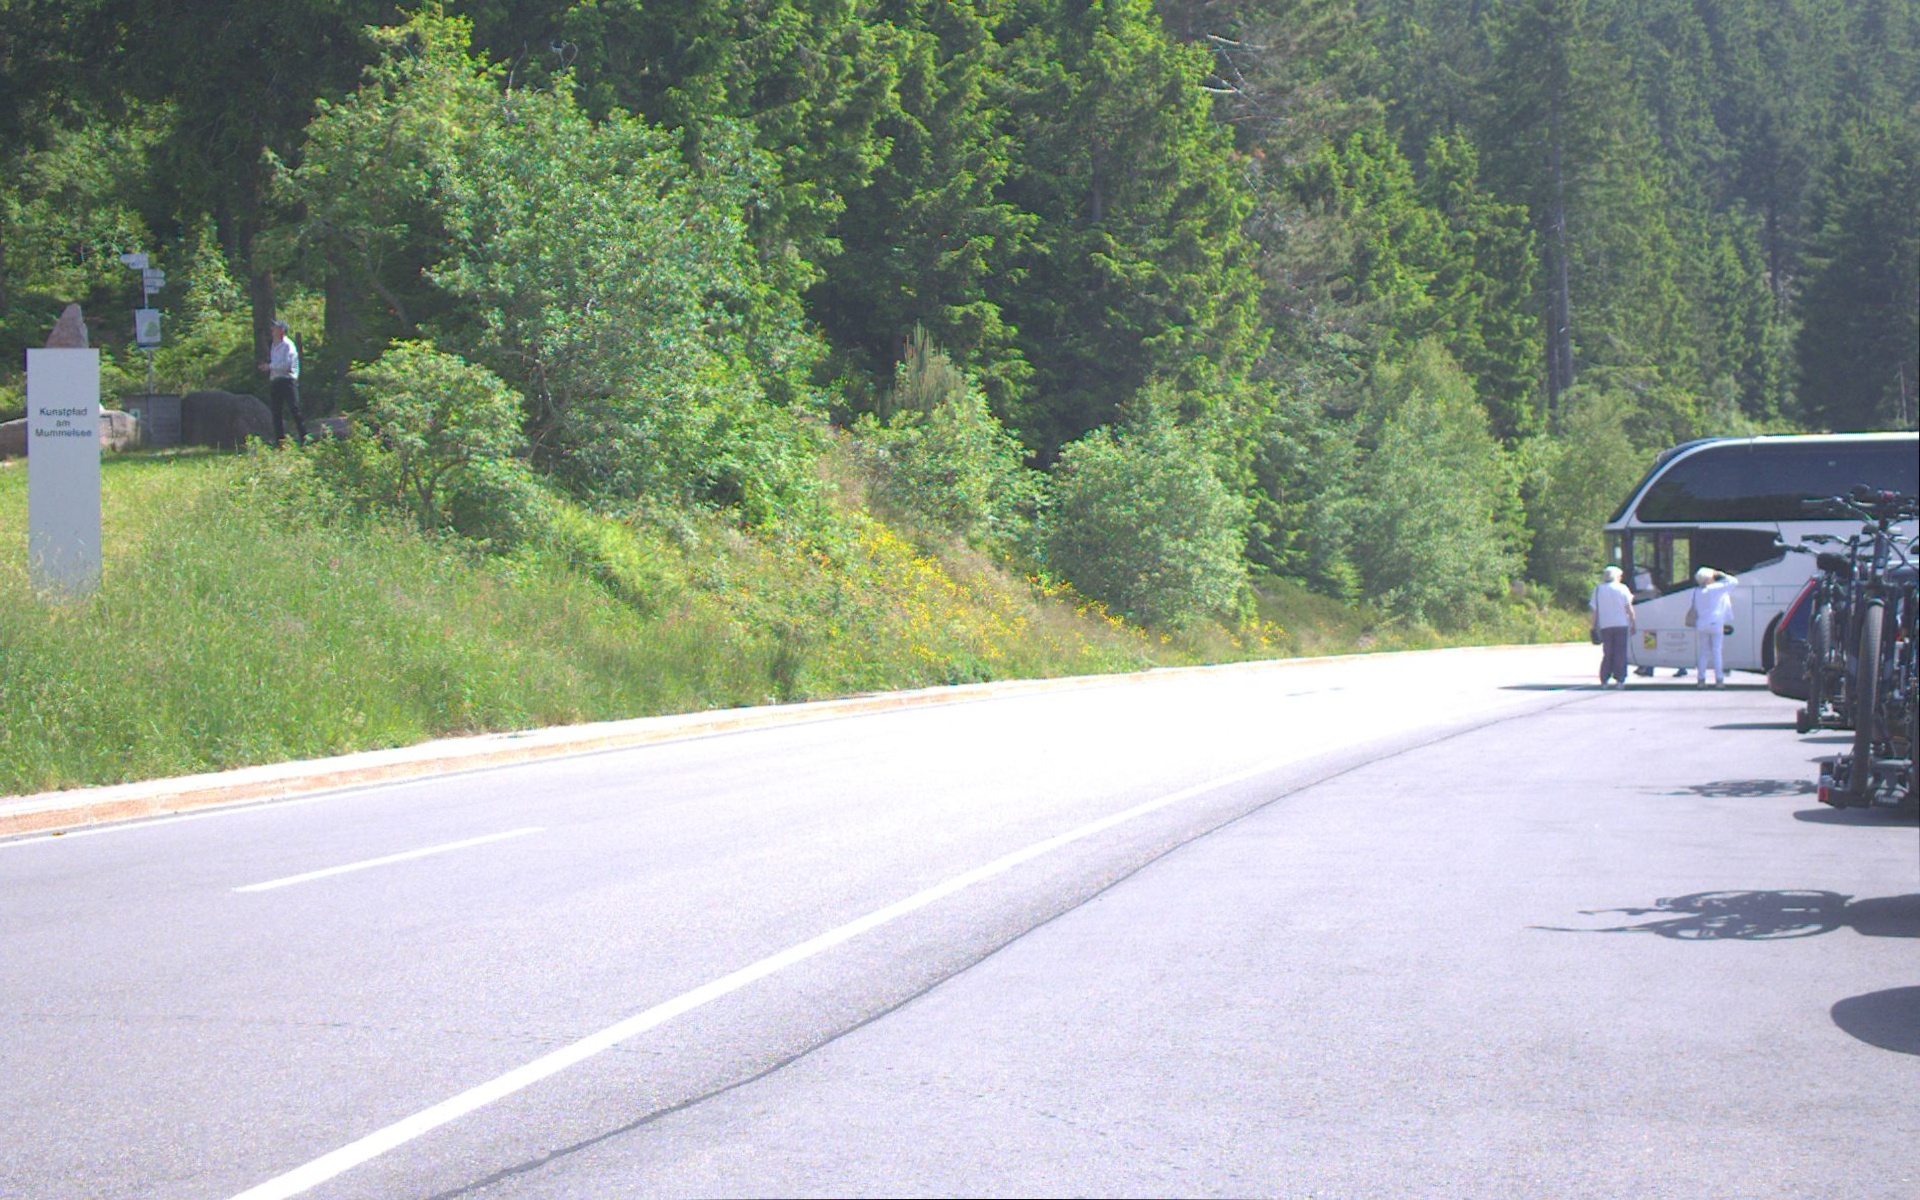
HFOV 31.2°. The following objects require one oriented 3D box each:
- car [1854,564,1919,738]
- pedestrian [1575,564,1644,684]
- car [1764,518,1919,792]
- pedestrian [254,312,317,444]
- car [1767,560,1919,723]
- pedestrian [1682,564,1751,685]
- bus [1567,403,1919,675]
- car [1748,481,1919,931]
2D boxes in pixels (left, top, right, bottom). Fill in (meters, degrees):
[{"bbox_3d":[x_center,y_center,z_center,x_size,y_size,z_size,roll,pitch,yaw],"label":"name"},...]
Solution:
[{"bbox_3d":[9.440,0.360,28.207,3.989,1.393,1.619,-2,0,13],"label":"car"},{"bbox_3d":[8.749,0.316,46.309,0.771,1.580,0.772,-2,0,19],"label":"pedestrian"},{"bbox_3d":[7.646,0.270,21.475,5.036,1.645,2.047,-2,0,13],"label":"car"},{"bbox_3d":[-9.816,-3.227,50.043,0.680,1.871,0.542,-2,0,8],"label":"pedestrian"},{"bbox_3d":[9.553,0.337,31.842,3.989,1.444,1.860,-2,0,13],"label":"car"},{"bbox_3d":[10.075,0.322,45.787,0.771,1.580,0.772,-2,0,19],"label":"pedestrian"},{"bbox_3d":[15.011,-0.917,46.073,13.108,3.520,3.040,-2,0,23],"label":"bus"},{"bbox_3d":[5.648,0.349,13.358,4.952,1.690,1.944,-1,0,15],"label":"car"}]
